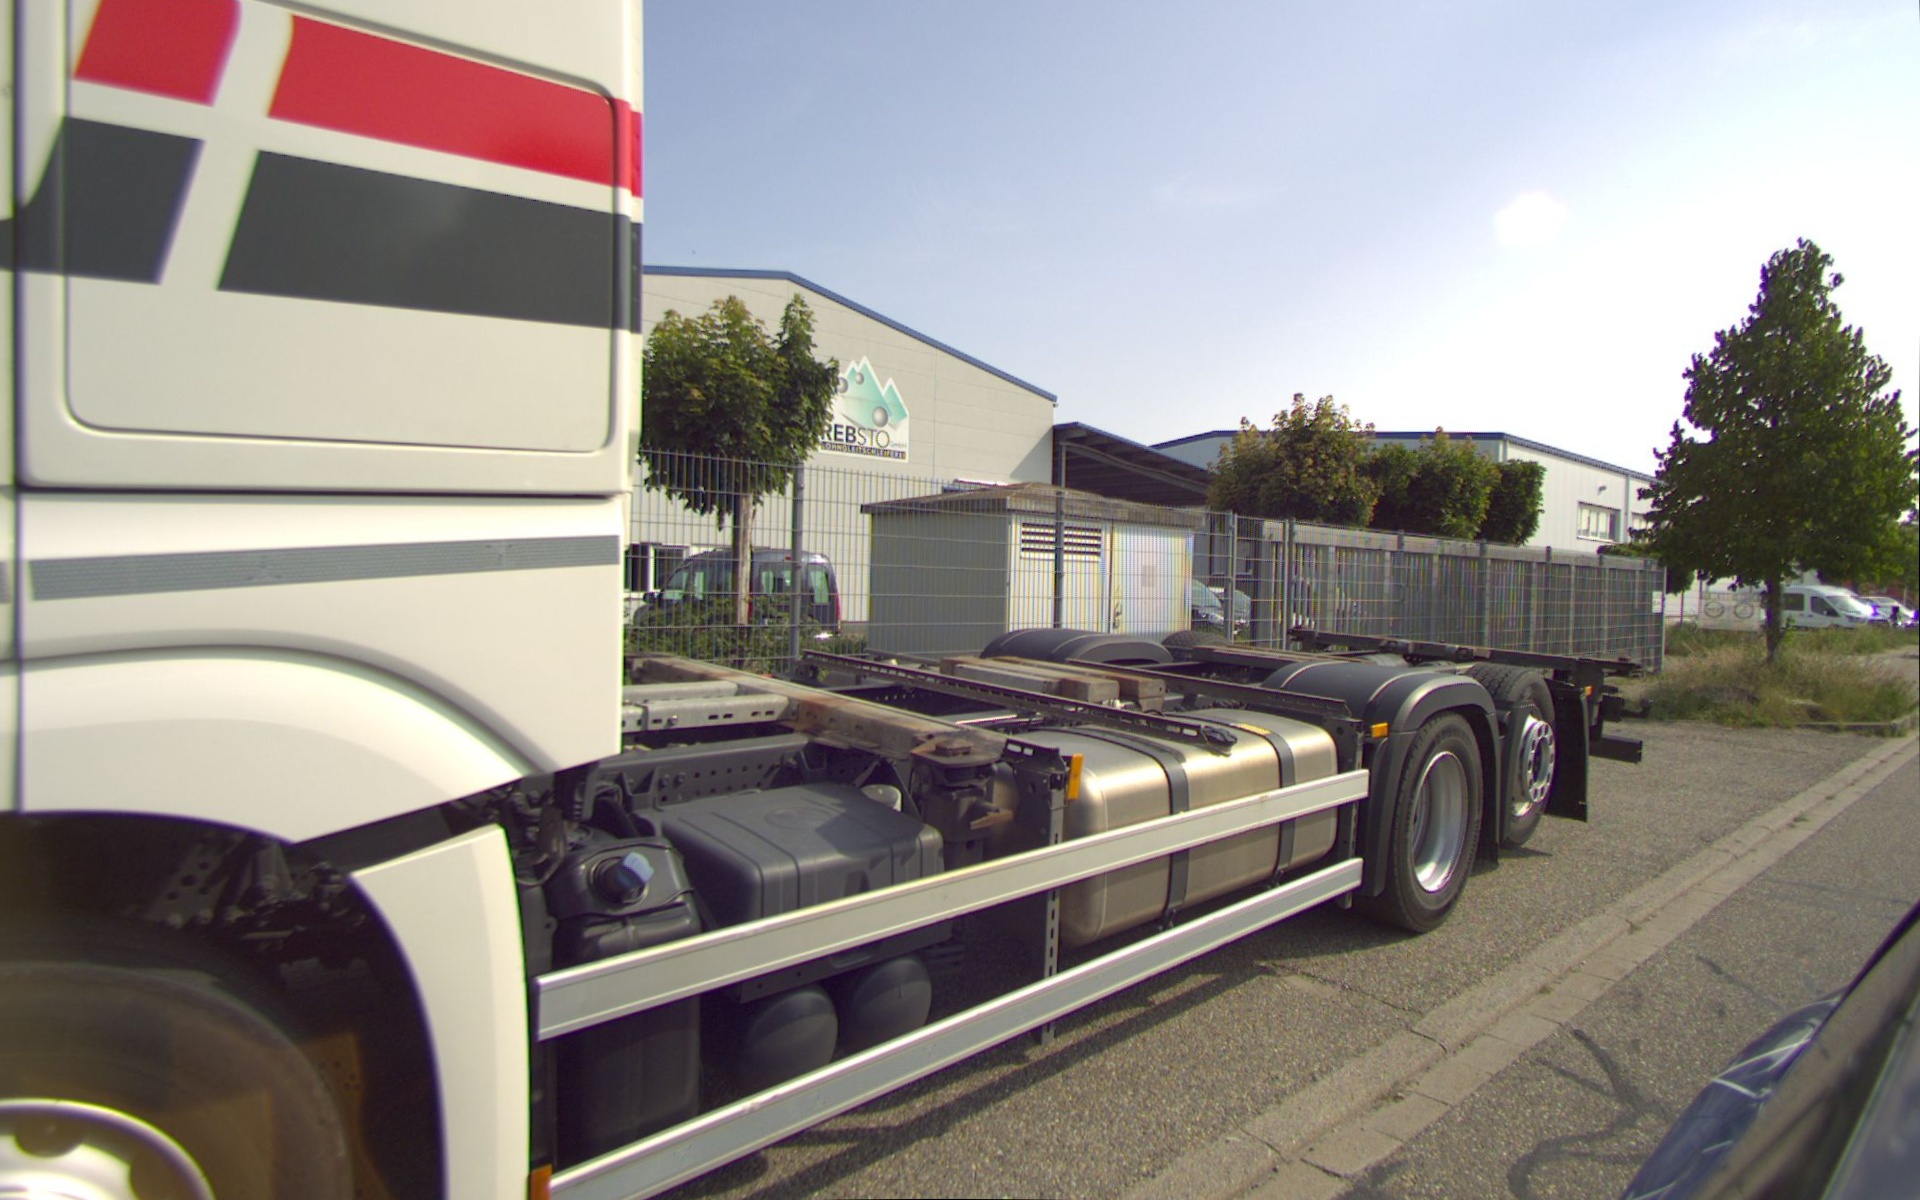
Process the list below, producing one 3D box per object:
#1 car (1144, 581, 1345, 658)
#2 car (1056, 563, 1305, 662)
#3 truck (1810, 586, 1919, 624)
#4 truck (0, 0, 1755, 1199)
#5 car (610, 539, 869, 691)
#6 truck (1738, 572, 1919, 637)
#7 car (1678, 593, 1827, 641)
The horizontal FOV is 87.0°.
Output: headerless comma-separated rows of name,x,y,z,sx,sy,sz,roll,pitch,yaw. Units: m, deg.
car,6.070,0.357,22.013,1.720,1.480,4.020,0,1,-36
car,4.251,0.167,20.054,1.967,1.743,4.488,0,1,-44
truck,52.411,0.247,58.006,2.231,2.047,5.836,1,1,-3
truck,0.454,-0.759,4.275,9.518,4.064,2.751,0,3,-42
car,-3.273,0.142,14.480,1.879,1.858,4.096,0,1,-41
truck,37.169,0.114,43.367,2.229,2.562,6.222,1,1,-8
car,27.714,0.553,35.571,1.860,1.516,4.005,1,1,-5
